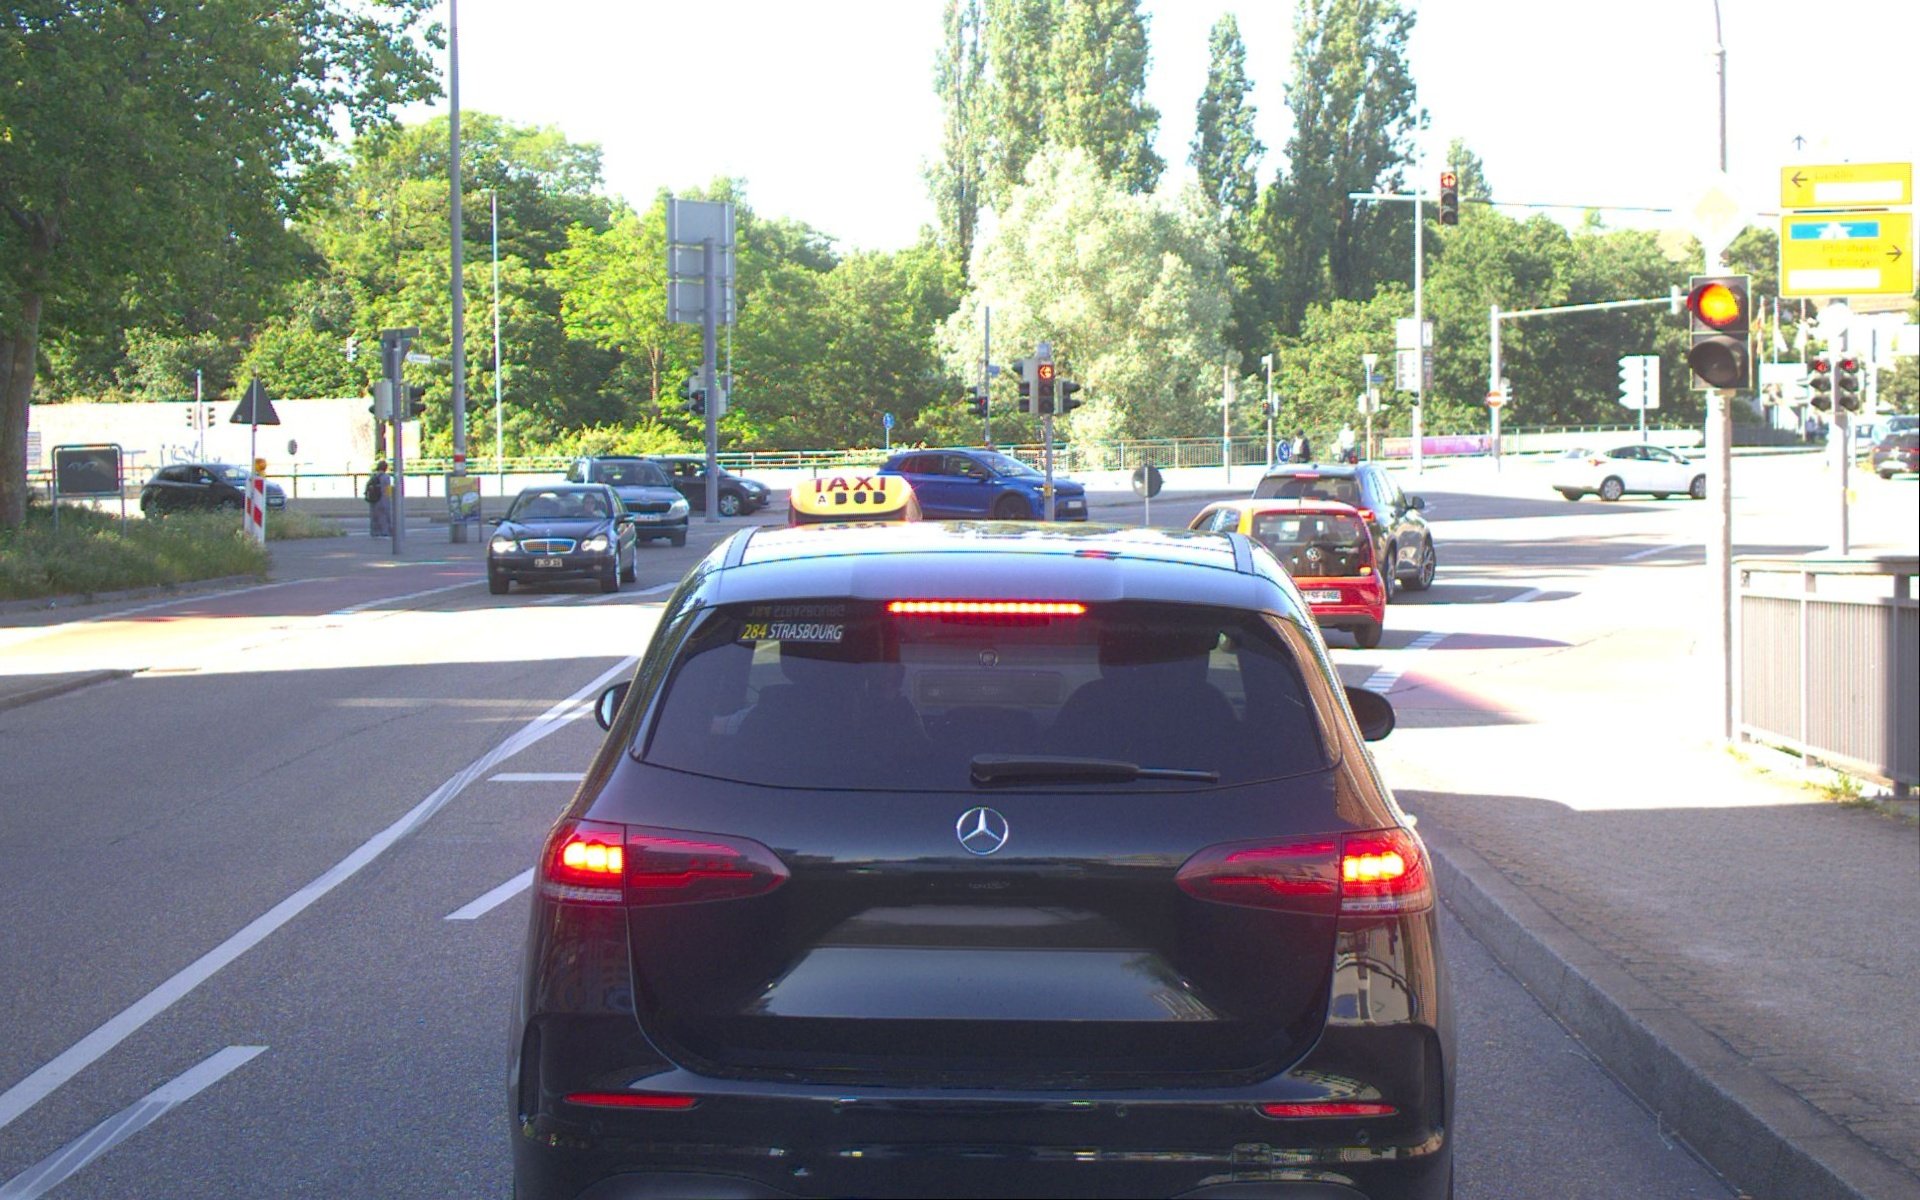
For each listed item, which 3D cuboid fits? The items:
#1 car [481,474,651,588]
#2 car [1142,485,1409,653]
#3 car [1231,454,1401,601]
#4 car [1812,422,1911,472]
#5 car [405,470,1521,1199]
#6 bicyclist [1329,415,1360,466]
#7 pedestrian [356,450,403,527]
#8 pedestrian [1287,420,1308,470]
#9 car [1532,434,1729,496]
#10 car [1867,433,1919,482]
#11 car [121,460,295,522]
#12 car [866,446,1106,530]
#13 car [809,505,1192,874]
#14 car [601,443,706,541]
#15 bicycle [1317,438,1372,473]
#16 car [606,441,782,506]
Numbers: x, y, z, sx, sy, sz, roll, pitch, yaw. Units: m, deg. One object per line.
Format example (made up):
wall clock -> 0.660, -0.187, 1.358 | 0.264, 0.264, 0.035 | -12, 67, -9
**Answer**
car -> -5.371, -0.980, 47.298 | 1.741, 1.402, 4.201 | -1, 3, 1
car -> 3.221, -0.371, 35.733 | 1.721, 1.516, 3.488 | -1, 4, -13
car -> 4.600, -0.982, 44.931 | 1.721, 1.806, 4.298 | 1, 2, 0
car -> 30.075, -5.112, 114.661 | 1.882, 1.573, 3.992 | 1, 3, 36
car -> -0.020, 0.541, 7.840 | 1.878, 1.608, 4.000 | 1, 2, -1
bicyclist -> 11.886, -4.938, 106.209 | 0.805, 1.545, 0.527 | -4, 3, -45
pedestrian -> -11.472, -2.204, 67.989 | 0.705, 1.520, 0.743 | 1, 2, 10
pedestrian -> 10.682, -4.898, 108.832 | 0.451, 1.580, 0.500 | 1, 3, 40
car -> 16.423, -3.331, 84.220 | 4.299, 1.360, 2.001 | -3, 4, -21
car -> 27.920, -4.150, 99.312 | 1.884, 1.290, 4.586 | 1, 4, 35
car -> -18.940, -2.728, 86.563 | 3.991, 1.492, 1.743 | 0, 1, 22
car -> 0.506, -2.241, 67.958 | 4.397, 1.586, 1.919 | 2, 4, 33
car -> 0.227, 0.346, 16.726 | 1.640, 1.524, 3.474 | -1, 2, 2
car -> -5.596, -1.996, 62.480 | 1.803, 1.617, 4.002 | 1, 4, -6
bicycle -> 11.888, -4.462, 106.239 | 1.985, 1.046, 0.527 | -4, 3, -45
car -> -6.637, -3.156, 85.957 | 3.989, 1.542, 1.890 | 1, 1, 14
